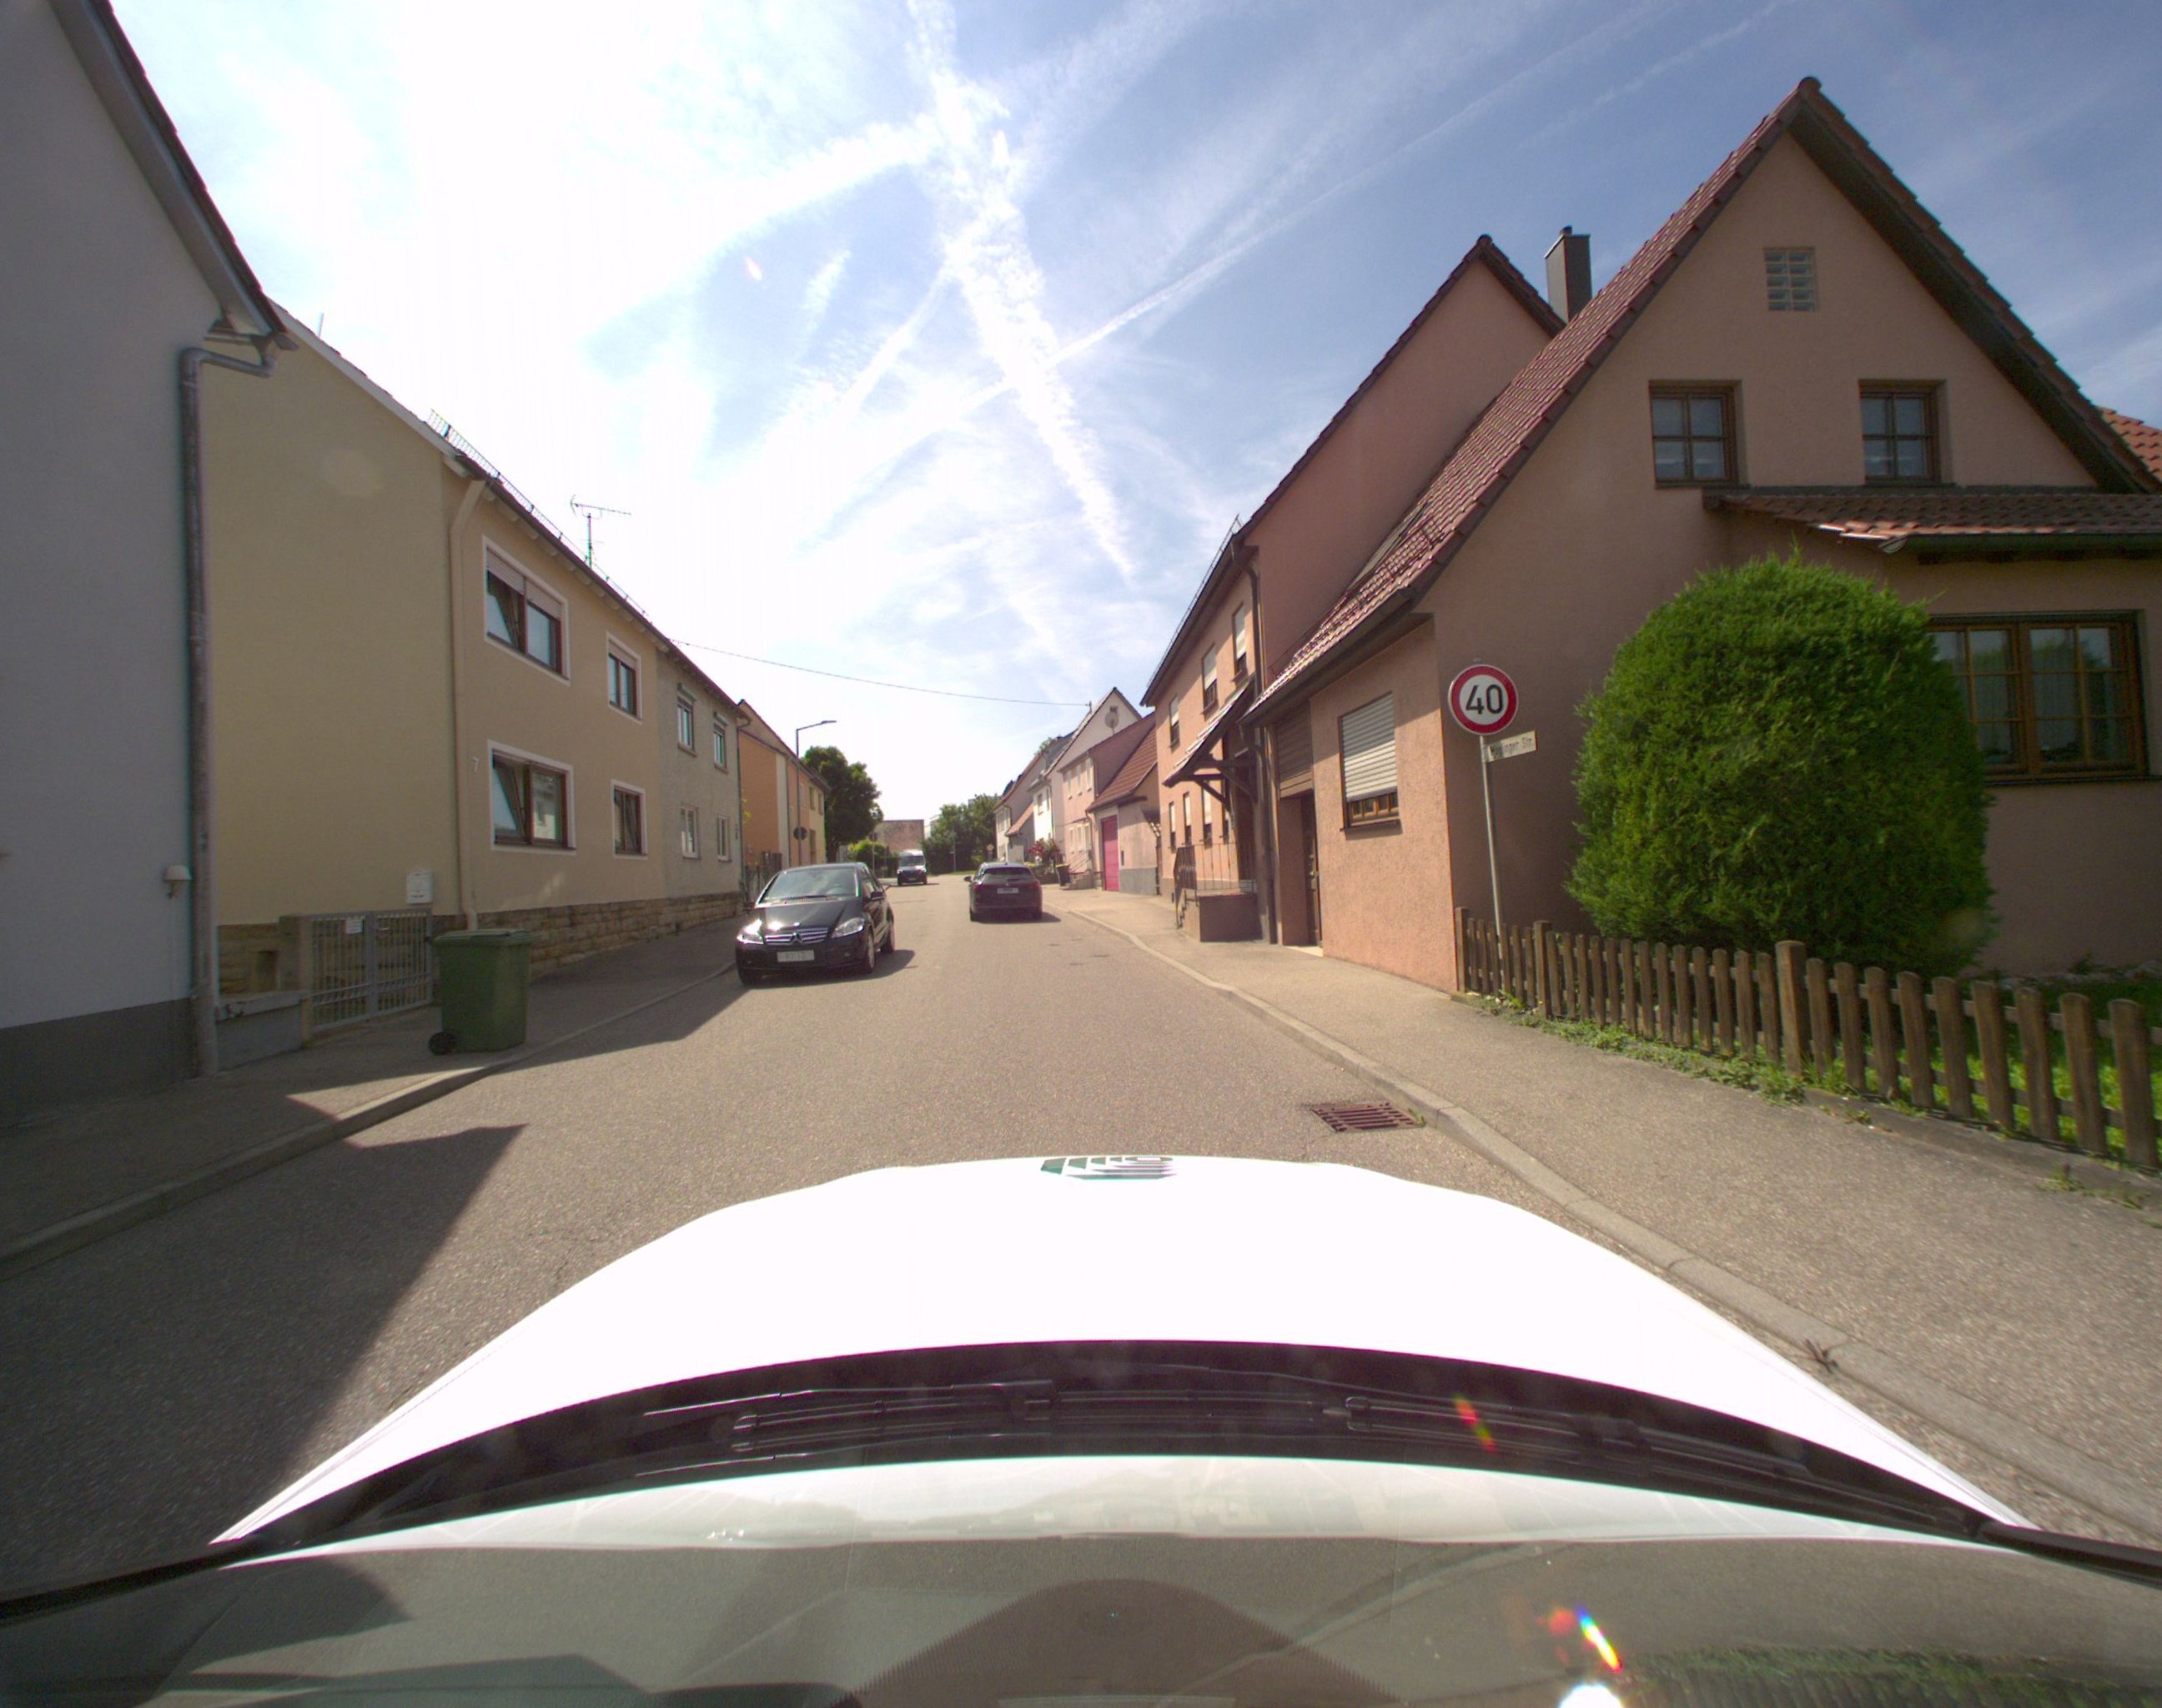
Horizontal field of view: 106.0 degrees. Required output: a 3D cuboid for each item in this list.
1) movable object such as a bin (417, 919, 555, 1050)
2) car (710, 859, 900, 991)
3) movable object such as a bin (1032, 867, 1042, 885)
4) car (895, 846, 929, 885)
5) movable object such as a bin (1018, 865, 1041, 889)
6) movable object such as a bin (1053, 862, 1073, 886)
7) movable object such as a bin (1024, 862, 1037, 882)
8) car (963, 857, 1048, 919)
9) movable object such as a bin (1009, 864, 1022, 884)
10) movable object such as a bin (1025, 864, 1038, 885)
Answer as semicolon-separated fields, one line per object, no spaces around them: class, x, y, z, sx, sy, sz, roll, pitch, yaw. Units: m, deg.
movable object such as a bin;-5.434;1.170;7.480;0.752;1.060;0.678;-2;0;-5
car;-3.909;0.899;12.278;1.798;1.555;4.061;-3;0;-6
movable object such as a bin;-2.574;1.290;47.549;0.504;0.994;0.440;-2;-1;-12
car;-12.042;0.838;58.243;2.114;2.563;5.806;-3;0;-10
movable object such as a bin;-2.572;1.133;40.572;0.877;1.074;0.868;-6;0;-16
movable object such as a bin;-0.874;0.971;39.615;0.679;1.050;0.831;-6;0;-15
movable object such as a bin;-3.046;1.099;49.452;0.665;1.194;0.657;-2;-1;-12
car;-2.116;0.862;21.661;1.842;1.420;4.665;-1;-1;-10
movable object such as a bin;-3.993;1.222;49.623;0.679;1.155;0.816;-1;-1;-15
movable object such as a bin;-2.954;1.230;48.745;0.665;1.194;0.585;-2;-1;-12
